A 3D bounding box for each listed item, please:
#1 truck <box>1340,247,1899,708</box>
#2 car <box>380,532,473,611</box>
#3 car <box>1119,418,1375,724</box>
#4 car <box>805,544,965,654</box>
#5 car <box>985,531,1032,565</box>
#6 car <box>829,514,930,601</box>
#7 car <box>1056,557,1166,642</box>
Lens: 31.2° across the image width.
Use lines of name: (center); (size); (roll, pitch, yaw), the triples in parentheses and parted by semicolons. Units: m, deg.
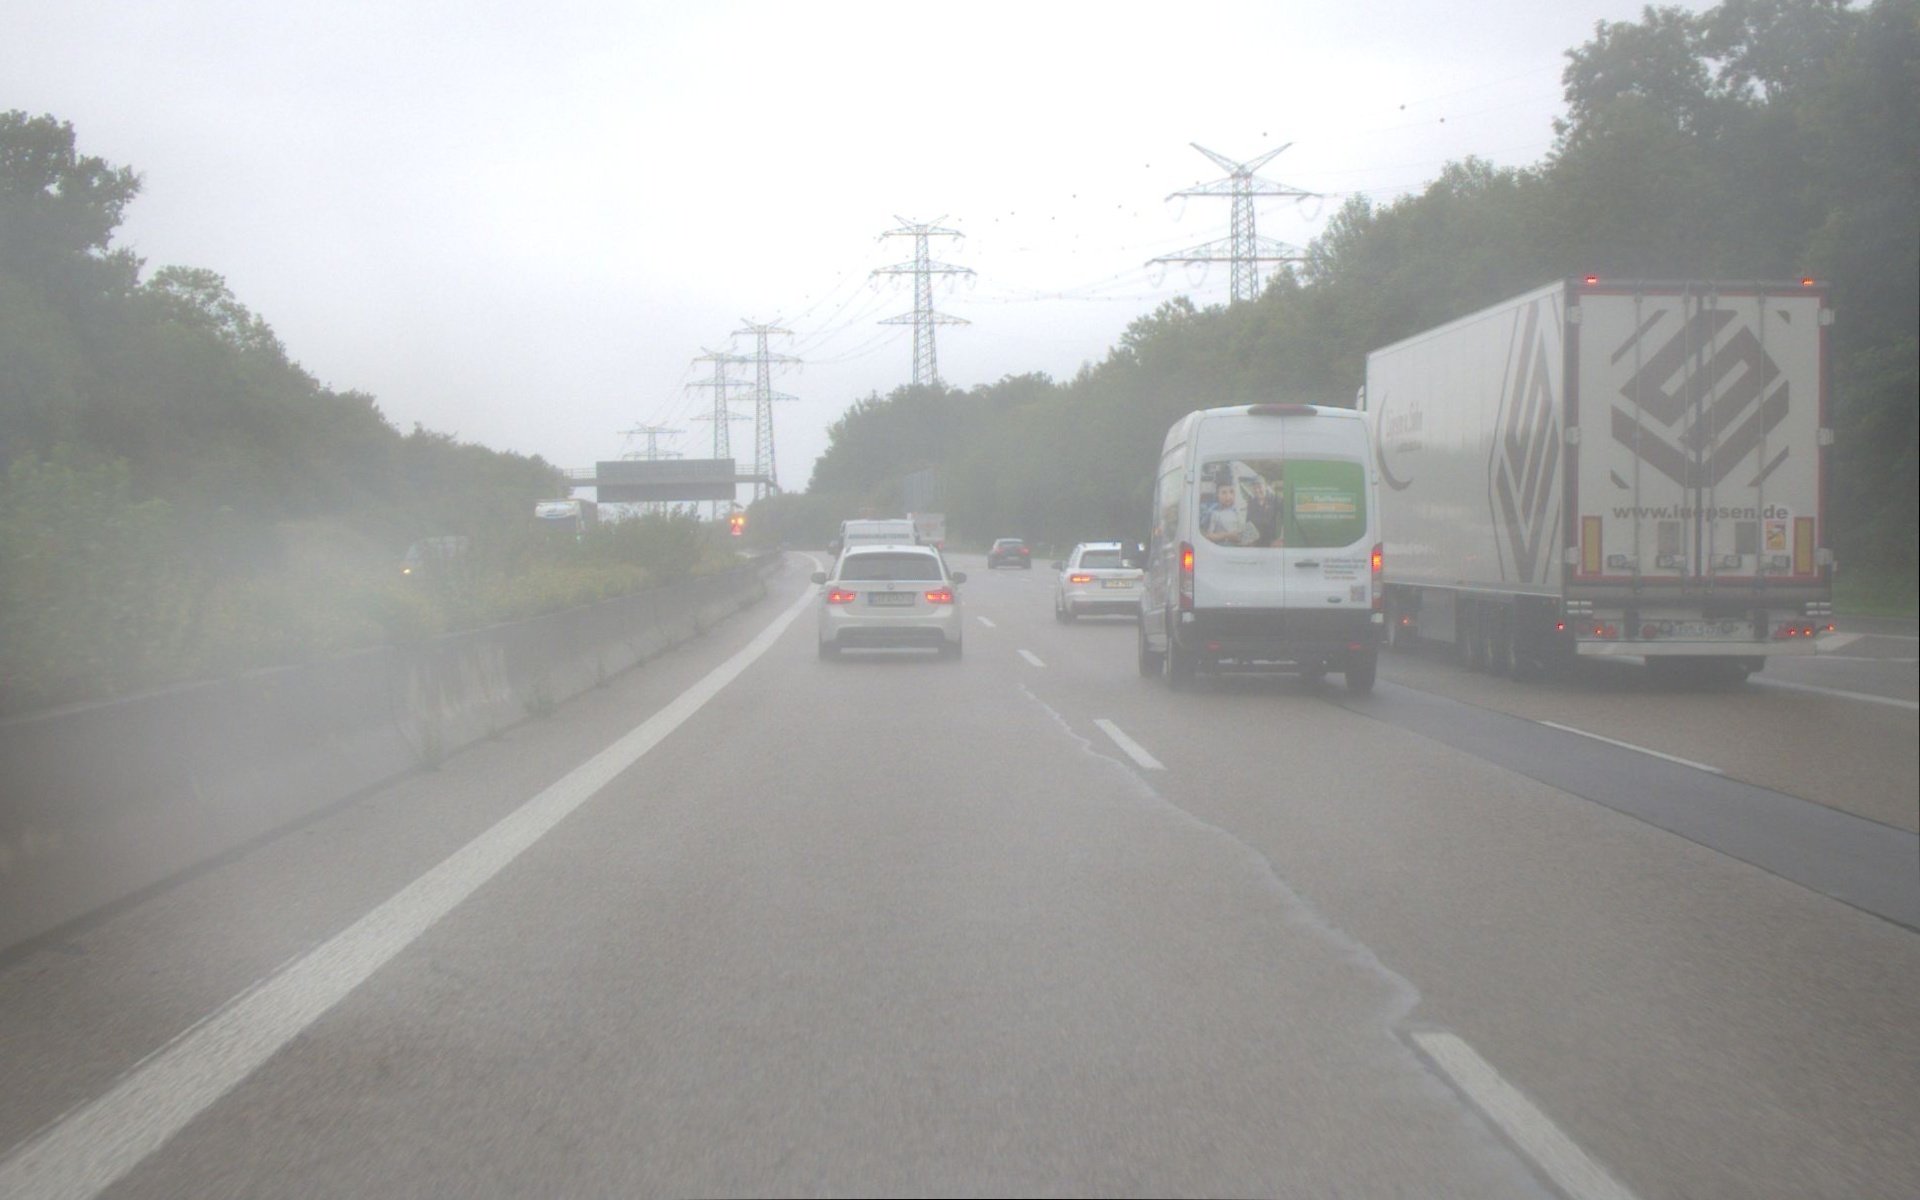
truck: (6.958, -1.203, 39.044); (3.603, 4.317, 13.200); (-1, 0, -1)
car: (-14.139, -0.781, 91.397); (1.993, 2.007, 4.752); (-1, 1, -4)
car: (2.794, -0.307, 34.348); (1.993, 2.854, 4.001); (-1, 1, -3)
car: (-0.890, -0.044, 43.041); (1.866, 1.284, 4.000); (-1, 1, 0)
car: (2.270, -2.401, 159.647); (1.994, 1.481, 4.000); (-3, 0, 2)
car: (-1.671, -0.911, 72.847); (1.846, 1.766, 4.000); (-1, 1, 3)
car: (2.677, -0.036, 60.282); (1.857, 1.418, 4.000); (0, 1, 3)
